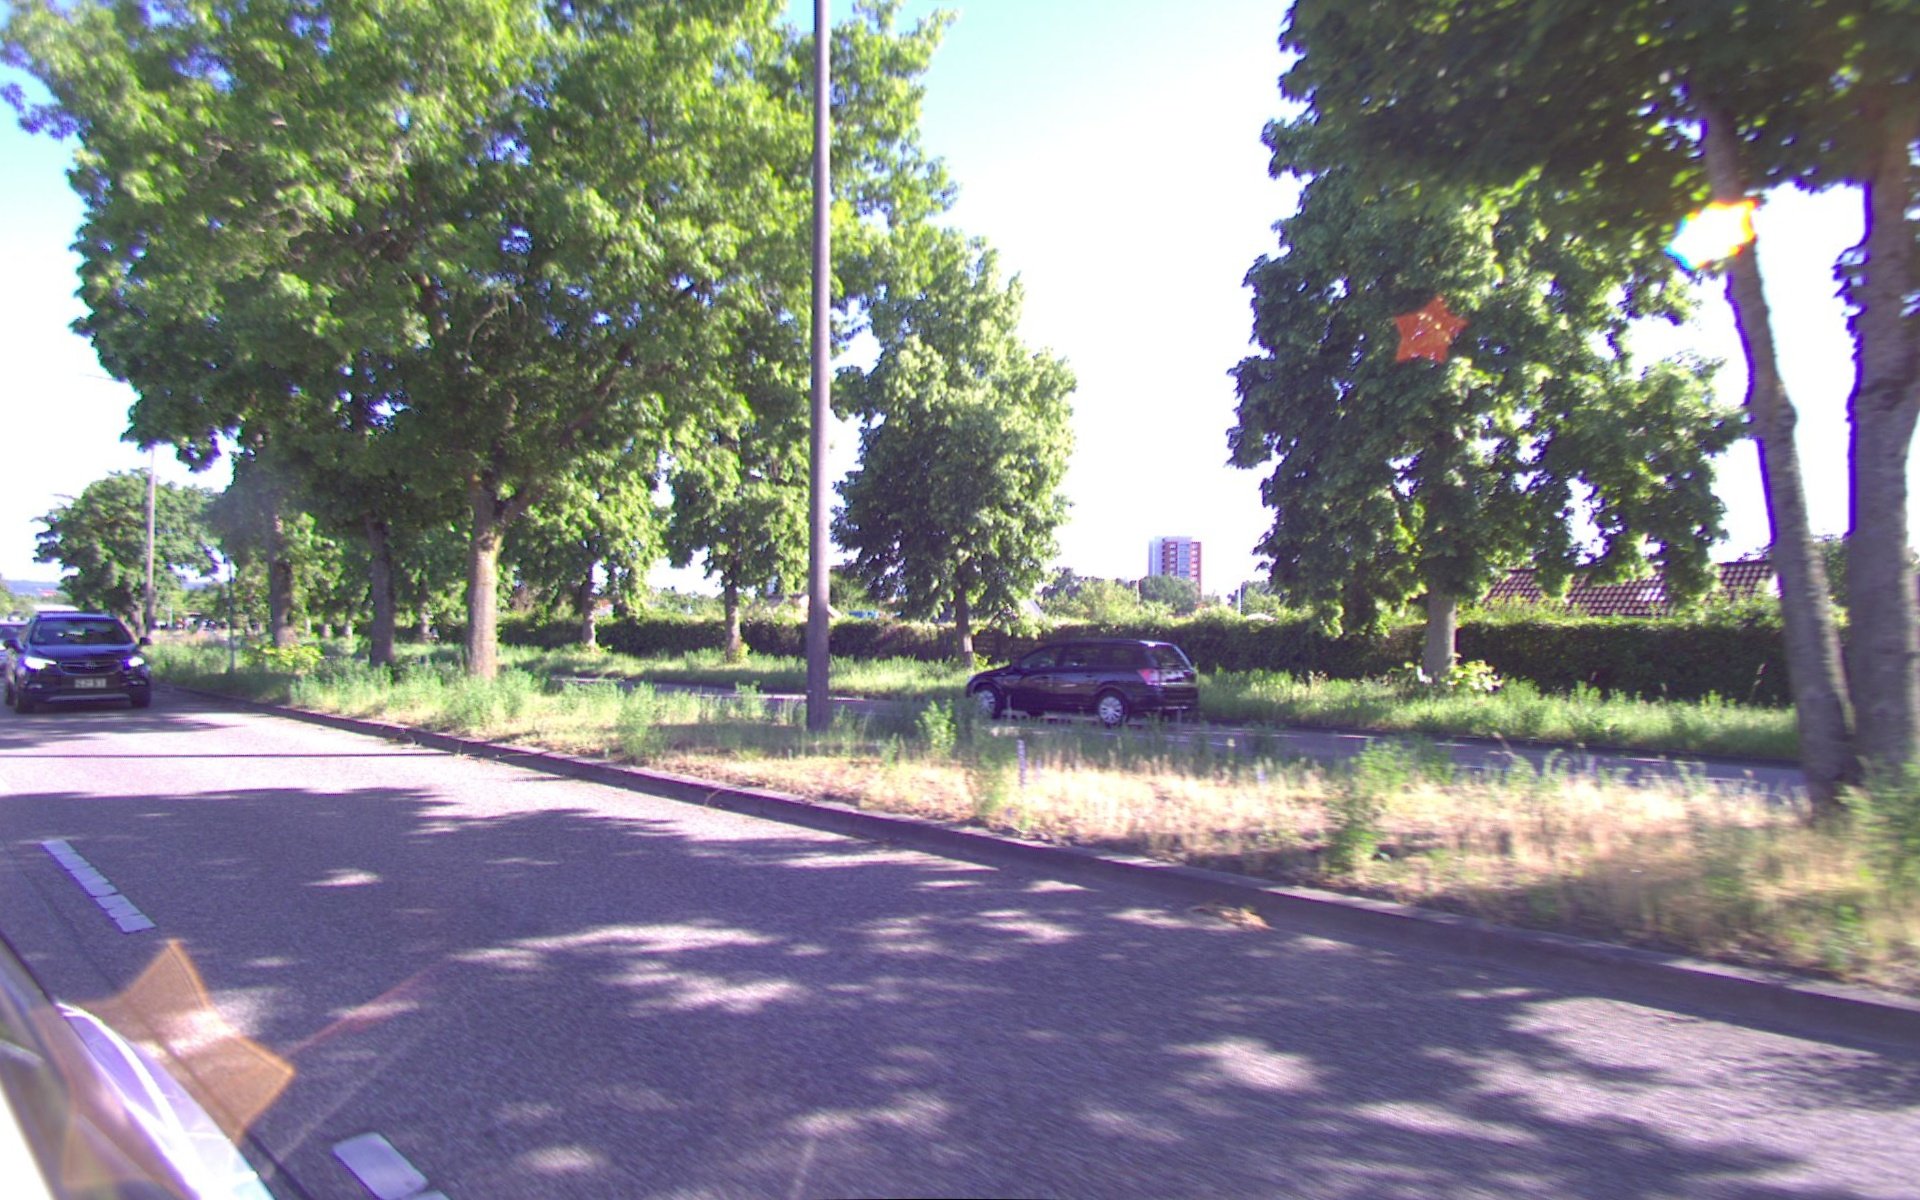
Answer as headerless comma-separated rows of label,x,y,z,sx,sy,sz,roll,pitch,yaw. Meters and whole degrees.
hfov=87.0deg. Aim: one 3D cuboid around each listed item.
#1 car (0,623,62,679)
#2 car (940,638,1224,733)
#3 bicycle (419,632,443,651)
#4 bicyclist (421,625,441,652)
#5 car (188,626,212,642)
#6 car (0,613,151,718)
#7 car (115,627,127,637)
car,-28.089,1.485,30.276,1.797,1.574,4.652,1,-2,-41
car,2.033,1.440,18.002,4.938,1.447,1.674,-1,-4,42
bicycle,-28.930,2.245,55.334,0.681,1.004,1.843,2,-3,-44
bicyclist,-28.883,2.105,55.263,0.681,1.432,1.001,2,-3,-44
car,-85.043,3.758,113.240,1.914,1.669,4.006,-1,-1,-40
car,-15.865,1.056,18.011,1.786,1.627,4.517,2,-2,-45
car,-165.298,6.321,199.297,1.607,1.818,3.575,1,-2,-43
